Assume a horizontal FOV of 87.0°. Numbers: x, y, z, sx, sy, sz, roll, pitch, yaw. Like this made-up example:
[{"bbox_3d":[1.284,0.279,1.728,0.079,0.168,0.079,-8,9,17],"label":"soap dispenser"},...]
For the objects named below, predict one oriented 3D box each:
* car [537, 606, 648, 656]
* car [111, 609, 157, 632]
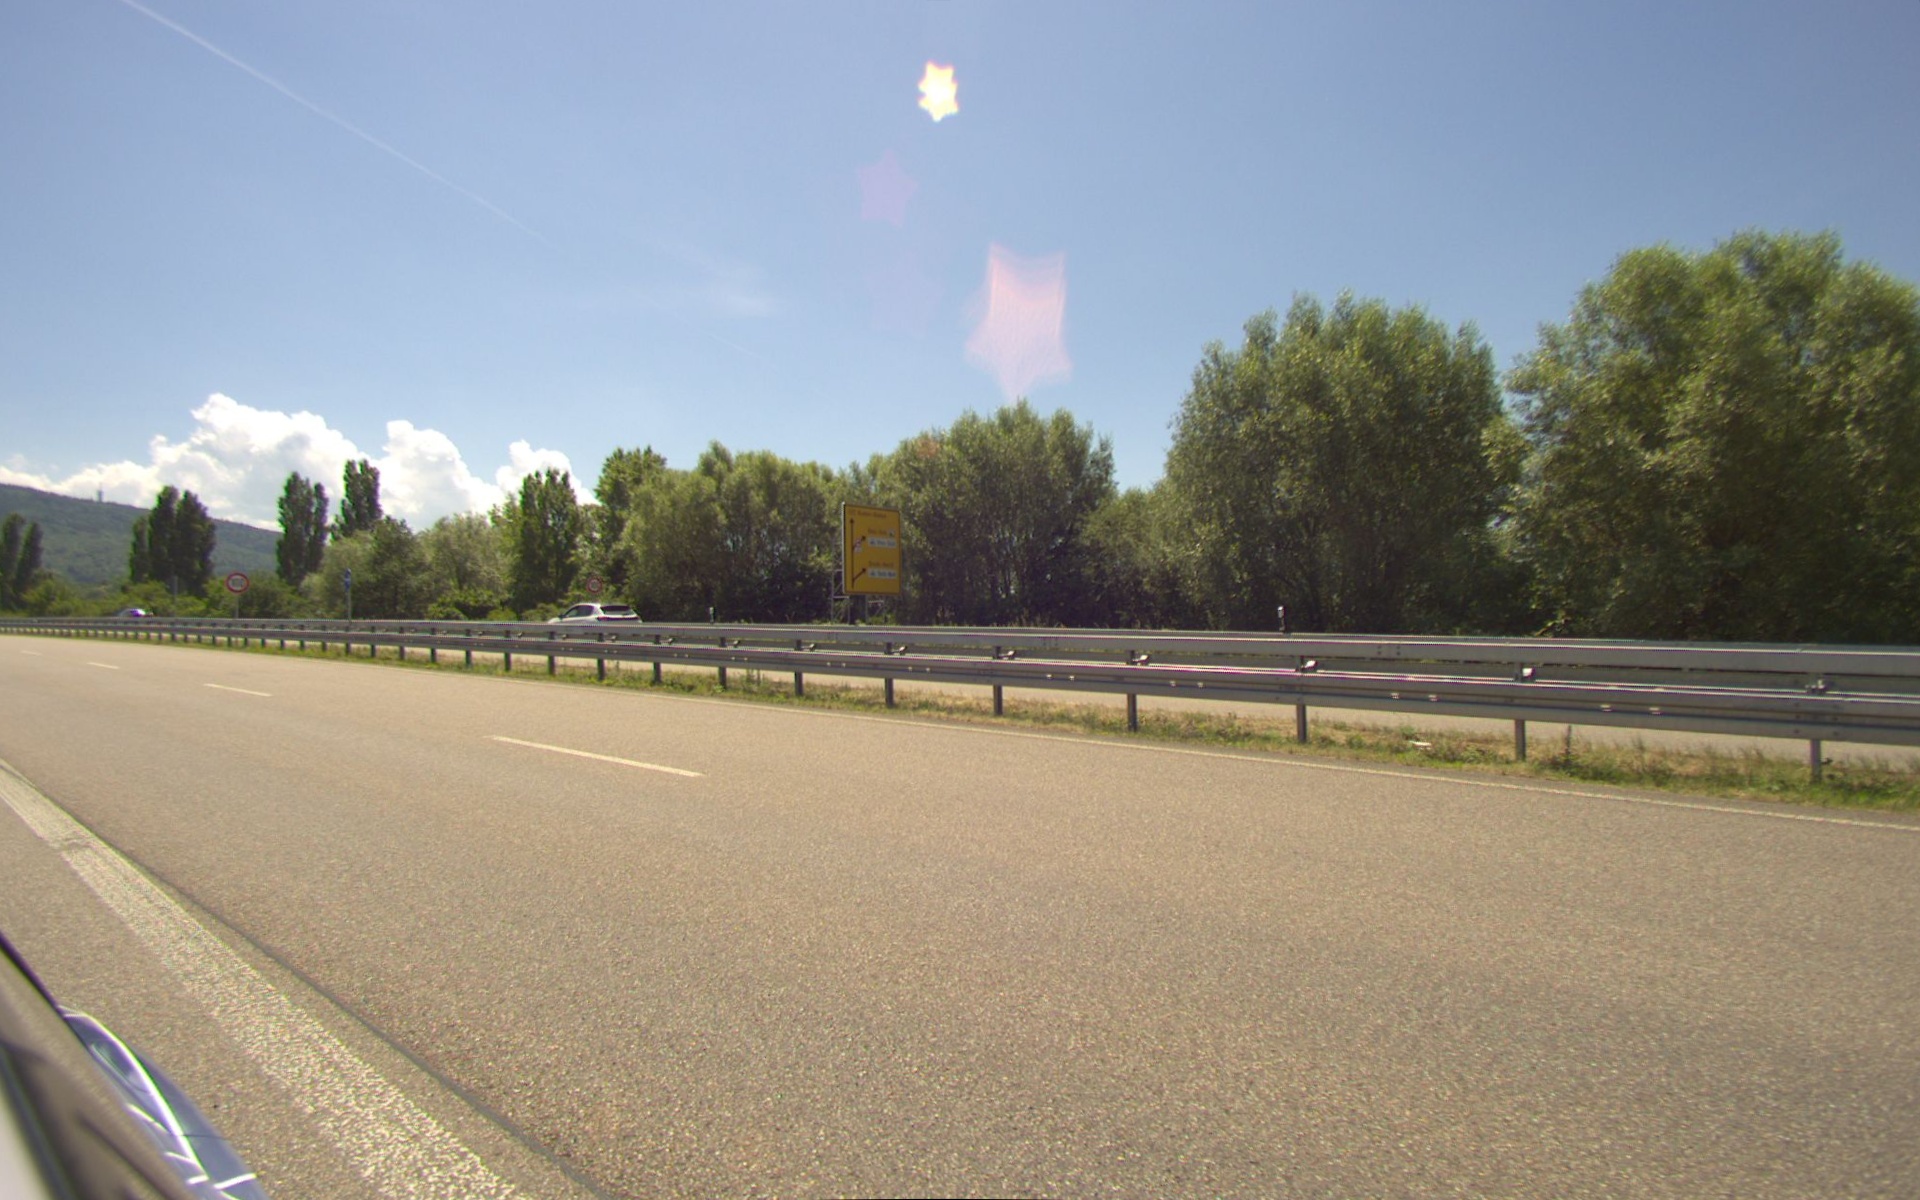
[{"bbox_3d":[-12.065,0.973,33.116,3.998,1.515,1.692,-1,0,41],"label":"car"},{"bbox_3d":[-57.786,1.436,70.819,3.700,1.530,1.764,-1,0,39],"label":"car"}]
